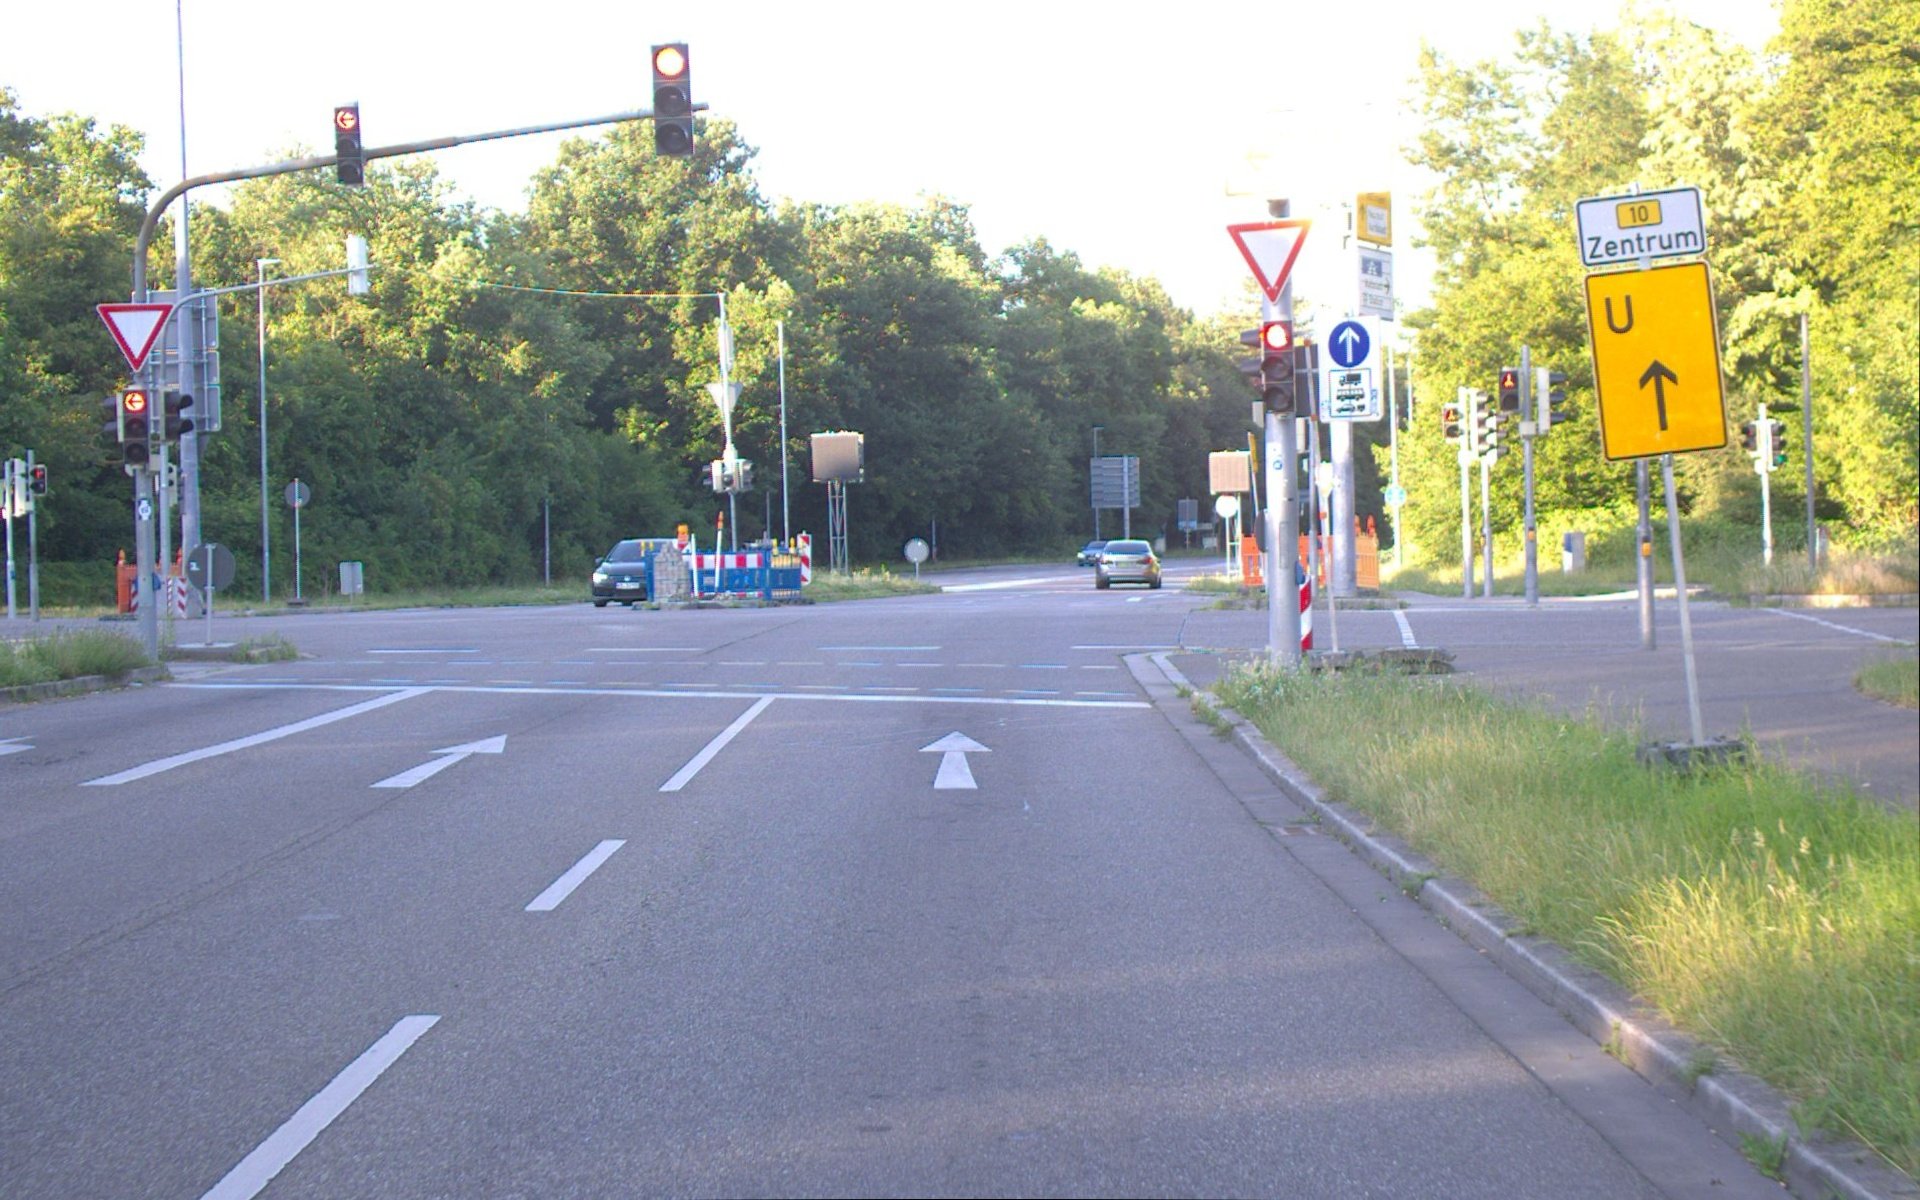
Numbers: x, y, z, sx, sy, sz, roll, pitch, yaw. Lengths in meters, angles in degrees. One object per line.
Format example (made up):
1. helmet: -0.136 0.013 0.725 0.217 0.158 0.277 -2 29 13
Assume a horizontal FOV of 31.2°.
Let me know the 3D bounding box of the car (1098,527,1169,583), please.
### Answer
1. car: 5.260 -1.389 104.015 1.994 1.612 4.000 -1 1 5

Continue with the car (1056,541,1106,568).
1. car: 6.764 -2.533 192.166 1.995 1.415 3.998 -1 1 14

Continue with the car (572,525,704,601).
1. car: -6.895 -0.818 74.008 1.994 1.524 4.678 -1 1 5
